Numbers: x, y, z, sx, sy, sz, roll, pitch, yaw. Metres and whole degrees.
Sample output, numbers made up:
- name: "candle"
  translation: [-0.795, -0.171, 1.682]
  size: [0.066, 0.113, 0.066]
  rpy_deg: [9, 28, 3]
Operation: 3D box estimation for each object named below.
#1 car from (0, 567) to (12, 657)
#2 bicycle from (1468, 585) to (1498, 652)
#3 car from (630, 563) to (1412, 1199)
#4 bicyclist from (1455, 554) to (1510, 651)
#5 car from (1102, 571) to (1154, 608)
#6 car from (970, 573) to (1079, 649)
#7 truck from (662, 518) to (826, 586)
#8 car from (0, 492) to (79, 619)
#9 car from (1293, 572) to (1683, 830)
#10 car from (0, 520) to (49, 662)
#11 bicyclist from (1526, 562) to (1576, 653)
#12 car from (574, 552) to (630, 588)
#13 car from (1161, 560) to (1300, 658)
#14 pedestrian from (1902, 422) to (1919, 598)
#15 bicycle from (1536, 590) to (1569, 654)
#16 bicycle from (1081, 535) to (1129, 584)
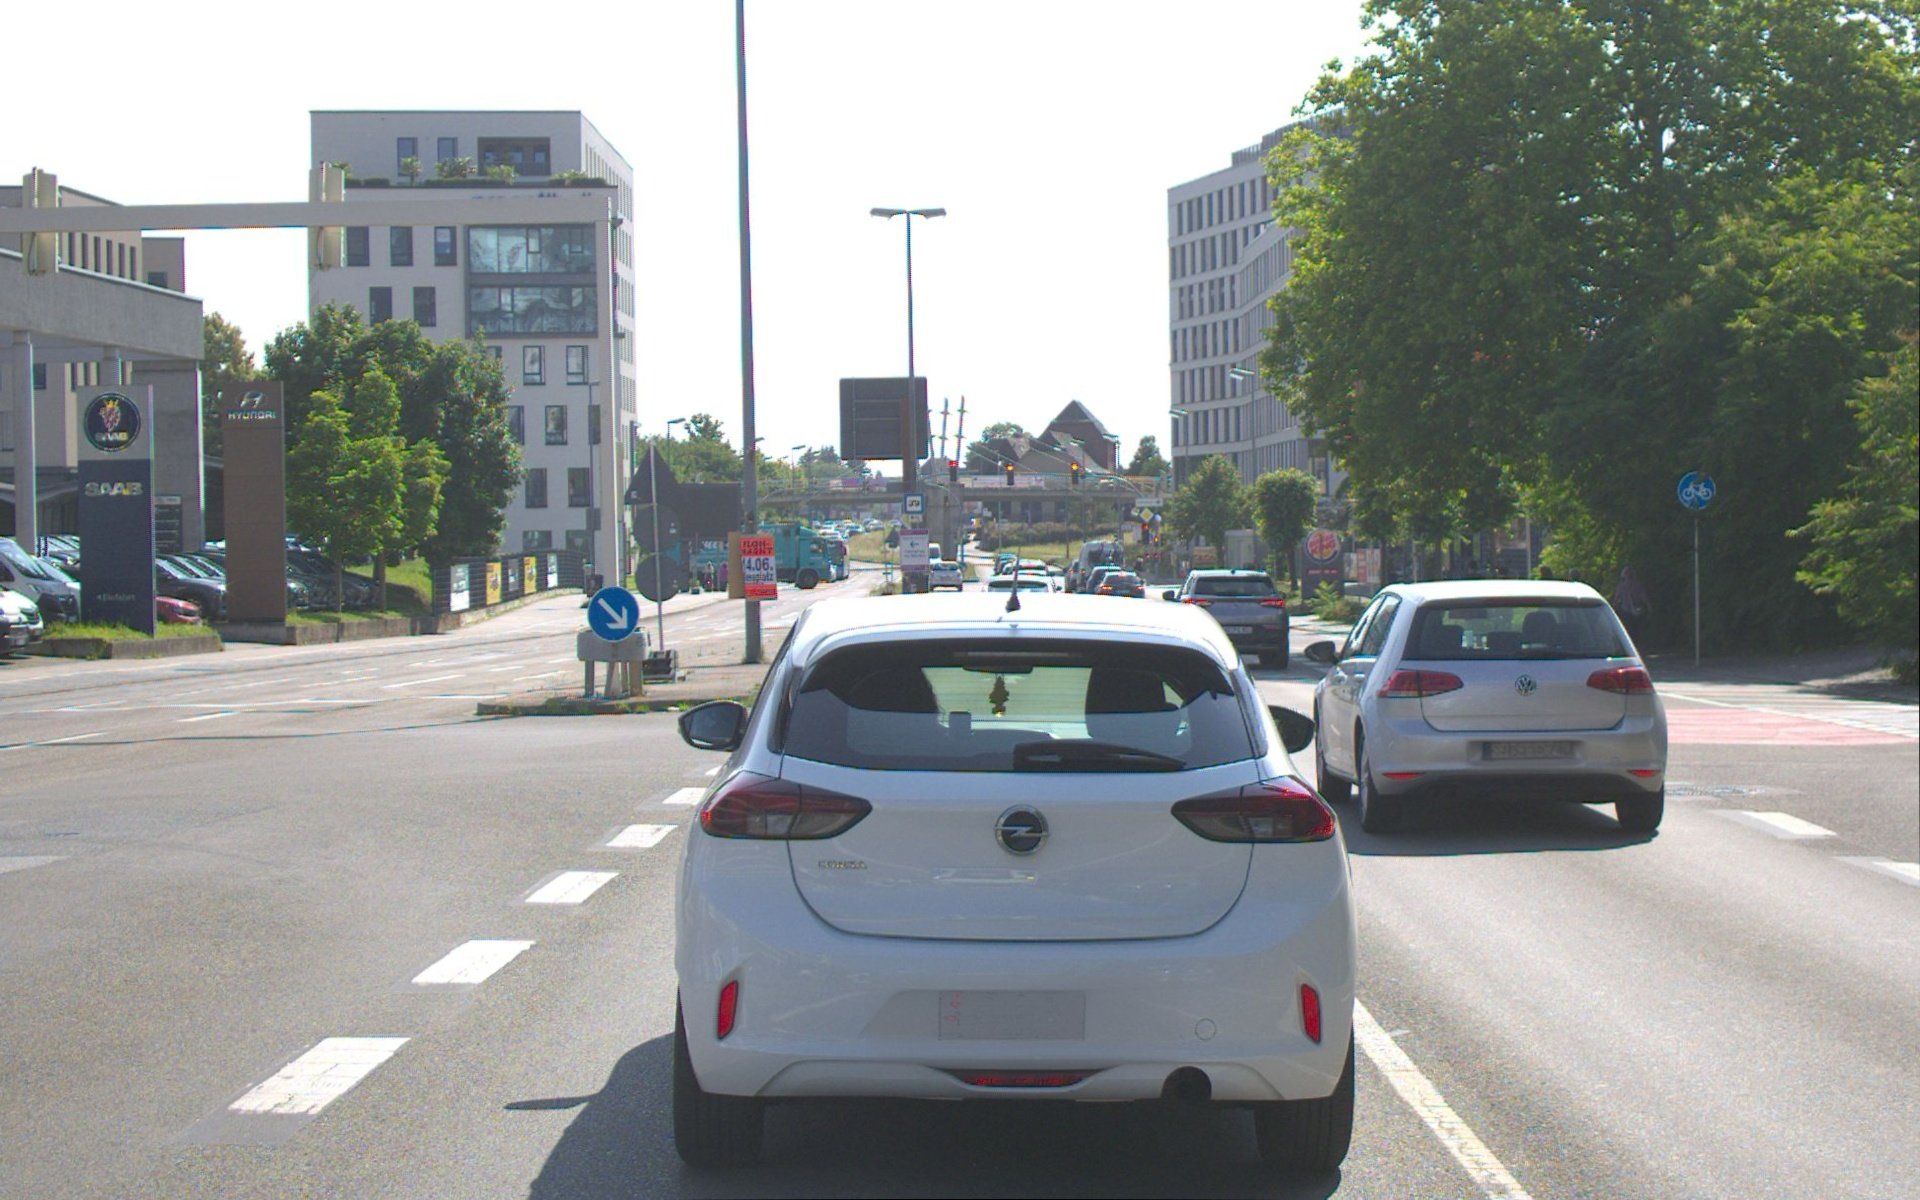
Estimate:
- name: "car"
  translation: [-20.084, 0.253, 63.777]
  size: [4.357, 1.690, 2.000]
  rpy_deg: [-1, 1, 6]
- name: "bicycle"
  translation: [9.619, 0.333, 63.303]
  size: [0.372, 1.212, 1.154]
  rpy_deg: [1, 0, 1]
- name: "car"
  translation: [0.156, 0.650, 9.873]
  size: [1.779, 1.489, 4.000]
  rpy_deg: [-1, 1, 1]
- name: "bicyclist"
  translation: [9.625, 0.051, 63.302]
  size: [0.879, 1.766, 0.864]
  rpy_deg: [0, 0, 1]
- name: "car"
  translation: [6.480, -0.411, 132.984]
  size: [1.806, 1.381, 4.000]
  rpy_deg: [1, 0, 1]
- name: "car"
  translation: [1.246, 0.196, 68.149]
  size: [1.993, 1.442, 4.371]
  rpy_deg: [0, 0, -1]
- name: "truck"
  translation: [-12.485, -2.760, 198.310]
  size: [9.058, 3.821, 3.082]
  rpy_deg: [-1, 0, -11]
- name: "car"
  translation: [-20.815, -0.905, 71.549]
  size: [4.357, 2.592, 2.000]
  rpy_deg: [0, 0, 6]
- name: "car"
  translation: [3.136, 0.561, 21.160]
  size: [1.807, 1.424, 4.000]
  rpy_deg: [-1, 0, 1]
- name: "car"
  translation: [-20.108, -0.168, 66.128]
  size: [4.498, 2.675, 2.127]
  rpy_deg: [0, 0, 10]
- name: "bicyclist"
  translation: [10.776, 0.135, 62.747]
  size: [0.688, 1.637, 0.777]
  rpy_deg: [-1, 0, -7]
- name: "car"
  translation: [-14.599, -1.202, 140.386]
  size: [1.806, 1.381, 4.000]
  rpy_deg: [1, 0, 1]
- name: "car"
  translation: [4.472, 0.126, 57.439]
  size: [1.993, 1.546, 4.433]
  rpy_deg: [-1, 1, 0]
- name: "pedestrian"
  translation: [11.465, -1.030, 39.422]
  size: [1.027, 2.007, 1.038]
  rpy_deg: [-1, 0, 1]
- name: "bicycle"
  translation: [10.810, 0.395, 62.720]
  size: [0.373, 1.143, 1.034]
  rpy_deg: [1, 0, -1]
- name: "bicycle"
  translation: [6.448, -1.791, 153.331]
  size: [1.993, 2.150, 4.000]
  rpy_deg: [-1, 0, 1]
